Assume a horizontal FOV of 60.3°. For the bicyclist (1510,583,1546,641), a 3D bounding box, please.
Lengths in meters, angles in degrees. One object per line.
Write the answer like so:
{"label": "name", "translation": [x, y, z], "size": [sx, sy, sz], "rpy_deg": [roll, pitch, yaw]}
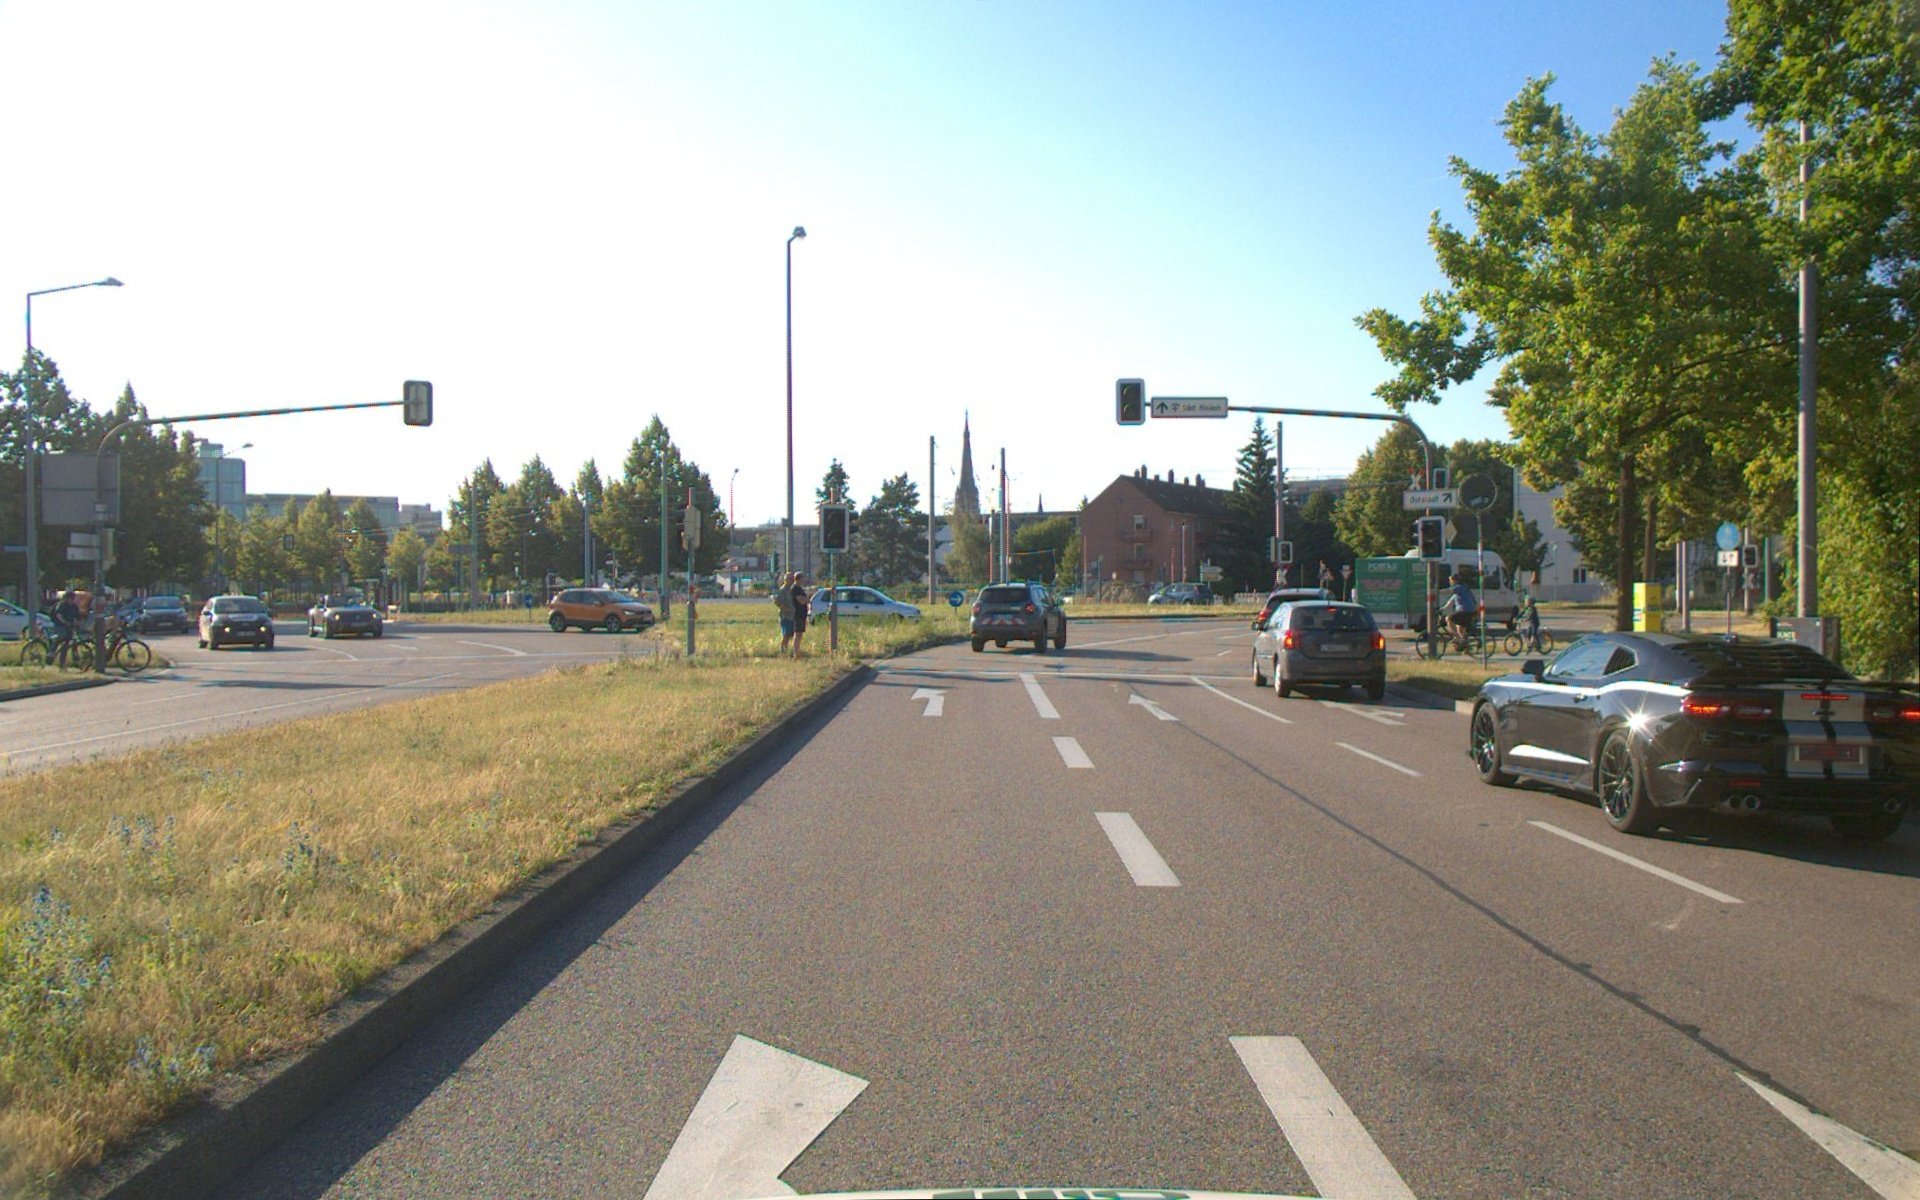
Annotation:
{"label": "bicyclist", "translation": [13.236, 0.270, 38.520], "size": [0.638, 1.317, 0.464], "rpy_deg": [-1, 1, -18]}

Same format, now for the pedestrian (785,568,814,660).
{"label": "pedestrian", "translation": [-3.305, 0.285, 34.034], "size": [0.475, 1.876, 0.672], "rpy_deg": [-1, 0, 3]}

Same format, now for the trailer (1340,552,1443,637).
{"label": "trailer", "translation": [13.032, -0.175, 49.792], "size": [2.052, 2.442, 3.492], "rpy_deg": [1, 0, 32]}

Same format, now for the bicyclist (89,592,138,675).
{"label": "bicyclist", "translation": [-18.793, 0.741, 36.713], "size": [0.795, 1.820, 0.497], "rpy_deg": [1, 0, 8]}

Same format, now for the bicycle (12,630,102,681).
{"label": "bicycle", "translation": [-19.349, 1.172, 35.432], "size": [1.868, 1.037, 0.505], "rpy_deg": [1, 0, 16]}

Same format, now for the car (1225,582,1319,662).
{"label": "car", "translation": [7.354, 0.464, 38.772], "size": [1.710, 1.649, 3.822], "rpy_deg": [2, 2, 17]}

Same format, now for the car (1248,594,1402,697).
{"label": "car", "translation": [5.812, 0.682, 26.763], "size": [1.711, 1.499, 3.820], "rpy_deg": [-1, 0, 1]}

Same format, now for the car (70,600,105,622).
{"label": "car", "translation": [-81.429, 1.001, 154.341], "size": [1.984, 2.049, 3.936], "rpy_deg": [-1, 0, -43]}

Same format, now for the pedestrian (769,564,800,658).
{"label": "pedestrian", "translation": [-3.511, 0.212, 33.090], "size": [0.475, 1.876, 0.720], "rpy_deg": [0, 1, 6]}

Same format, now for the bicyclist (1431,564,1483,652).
{"label": "bicyclist", "translation": [11.166, 0.177, 37.186], "size": [0.920, 1.932, 0.599], "rpy_deg": [-2, -1, 37]}

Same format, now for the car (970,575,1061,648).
{"label": "car", "translation": [1.423, 0.273, 40.779], "size": [1.865, 1.689, 4.003], "rpy_deg": [-1, 0, 7]}

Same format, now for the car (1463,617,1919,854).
{"label": "car", "translation": [5.412, 0.860, 12.436], "size": [1.816, 1.361, 4.625], "rpy_deg": [2, 0, 0]}

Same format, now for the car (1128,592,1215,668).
{"label": "car", "translation": [4.874, 0.659, 38.503], "size": [1.569, 1.638, 4.000], "rpy_deg": [0, 0, 1]}

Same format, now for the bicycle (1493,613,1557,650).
{"label": "bicycle", "translation": [13.150, 0.732, 38.495], "size": [1.436, 0.800, 0.438], "rpy_deg": [-1, 0, -18]}

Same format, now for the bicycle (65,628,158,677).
{"label": "bicycle", "translation": [-18.834, 1.152, 36.713], "size": [1.868, 1.037, 0.505], "rpy_deg": [1, 0, 7]}

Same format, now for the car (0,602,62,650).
{"label": "car", "translation": [-32.029, 0.876, 54.797], "size": [3.917, 1.534, 1.832], "rpy_deg": [-1, 0, -28]}

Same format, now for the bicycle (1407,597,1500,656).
{"label": "bicycle", "translation": [11.101, 0.599, 37.242], "size": [1.872, 1.266, 0.606], "rpy_deg": [-2, -1, 37]}

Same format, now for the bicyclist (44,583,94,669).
{"label": "bicyclist", "translation": [-19.039, 0.546, 35.352], "size": [0.796, 1.801, 0.496], "rpy_deg": [1, 0, 15]}

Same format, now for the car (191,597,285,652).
{"label": "car", "translation": [-20.893, 0.686, 47.816], "size": [1.656, 1.467, 3.566], "rpy_deg": [-2, 1, -38]}

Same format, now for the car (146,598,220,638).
{"label": "car", "translation": [-29.443, 0.668, 62.630], "size": [1.657, 1.400, 3.724], "rpy_deg": [-2, 1, -39]}

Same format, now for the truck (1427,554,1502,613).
{"label": "truck", "translation": [23.303, -0.750, 76.686], "size": [2.525, 2.602, 6.257], "rpy_deg": [-1, 0, 10]}

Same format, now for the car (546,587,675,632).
{"label": "car", "translation": [-11.988, 0.331, 56.765], "size": [4.046, 1.470, 1.907], "rpy_deg": [0, 0, 27]}

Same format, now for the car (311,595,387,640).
{"label": "car", "translation": [-20.614, 0.560, 55.736], "size": [1.651, 1.400, 4.104], "rpy_deg": [-2, 1, -31]}

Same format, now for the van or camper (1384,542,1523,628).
{"label": "van or camper", "translation": [16.430, -0.489, 54.787], "size": [2.248, 2.675, 6.554], "rpy_deg": [1, 1, 37]}

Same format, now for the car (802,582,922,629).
{"label": "car", "translation": [-3.213, 0.176, 54.568], "size": [3.667, 1.459, 1.837], "rpy_deg": [-1, 0, 6]}
